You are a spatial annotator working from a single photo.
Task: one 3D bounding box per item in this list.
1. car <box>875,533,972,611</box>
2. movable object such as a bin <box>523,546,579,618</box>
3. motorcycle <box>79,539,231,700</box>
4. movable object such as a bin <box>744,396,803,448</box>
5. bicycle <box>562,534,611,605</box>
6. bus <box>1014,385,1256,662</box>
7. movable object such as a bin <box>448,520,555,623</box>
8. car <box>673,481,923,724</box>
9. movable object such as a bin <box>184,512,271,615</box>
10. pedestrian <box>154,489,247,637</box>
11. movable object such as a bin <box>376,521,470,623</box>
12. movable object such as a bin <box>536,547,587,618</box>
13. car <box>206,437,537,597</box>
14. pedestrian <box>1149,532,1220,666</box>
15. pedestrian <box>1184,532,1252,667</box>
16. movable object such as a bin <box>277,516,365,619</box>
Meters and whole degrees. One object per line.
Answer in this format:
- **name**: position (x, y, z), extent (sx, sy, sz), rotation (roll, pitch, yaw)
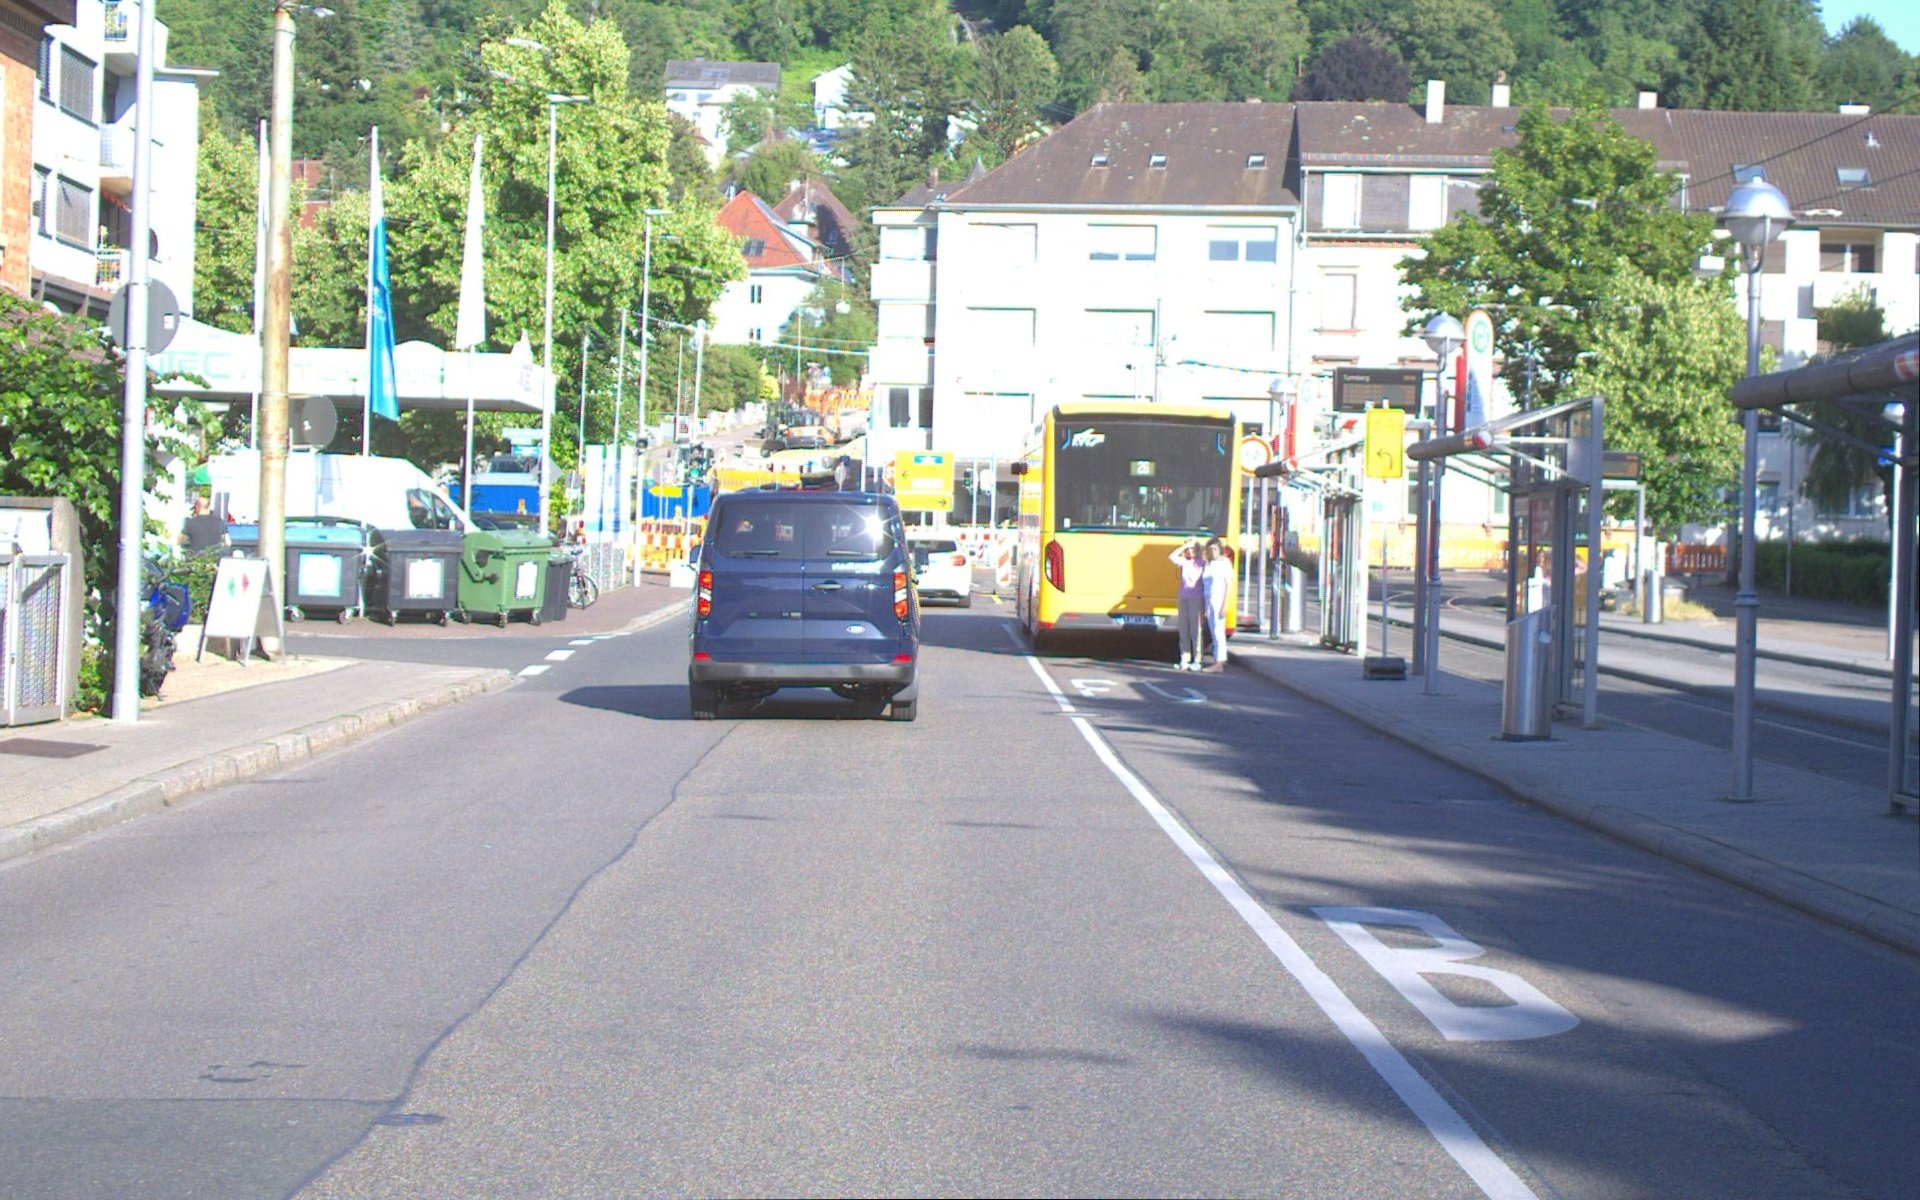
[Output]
- **car**: position (-0.697, -0.564, 66.754), extent (1.794, 1.405, 4.000), rotation (2, 1, 0)
- **movable object such as a bin**: position (-6.429, -0.290, 54.024), extent (0.660, 1.059, 0.585), rotation (4, 3, 12)
- **motorcycle**: position (-6.777, 0.142, 29.047), extent (0.839, 1.278, 2.233), rotation (2, 1, -3)
- **movable object such as a bin**: position (-10.036, -9.571, 185.226), extent (2.192, 2.681, 3.998), rotation (2, 2, 11)
- **bicycle**: position (-6.503, -0.540, 59.802), extent (0.723, 1.174, 1.781), rotation (1, 1, -10)
- **bus**: position (2.285, -1.131, 49.041), extent (2.688, 3.404, 12.019), rotation (1, 2, 0)
- **movable object such as a bin**: position (-7.077, -0.452, 53.084), extent (1.056, 1.477, 1.310), rotation (4, 5, 28)
- **car**: position (-1.371, -0.028, 31.080), extent (2.062, 2.007, 5.000), rotation (0, 1, -1)
- **movable object such as a bin**: position (-11.006, -0.552, 51.660), extent (1.177, 1.477, 0.704), rotation (1, 4, -5)
- **pedestrian**: position (-9.795, -0.481, 44.326), extent (0.819, 1.861, 0.794), rotation (2, 2, 33)
- **movable object such as a bin**: position (-8.126, -0.434, 52.061), extent (1.218, 1.477, 0.704), rotation (-1, 5, -29)
- **movable object such as a bin**: position (-6.331, -0.280, 54.644), extent (0.640, 1.065, 0.580), rotation (2, 4, 12)
- **car**: position (-9.853, -1.378, 57.519), extent (5.054, 2.461, 2.109), rotation (2, 1, -22)
- **pedestrian**: position (2.737, -0.016, 41.881), extent (0.544, 1.607, 0.636), rotation (1, 1, -38)
- **pedestrian**: position (3.114, -0.011, 41.539), extent (0.544, 1.607, 0.549), rotation (1, 1, -38)
- **movable object such as a bin**: position (-9.613, -0.495, 51.733), extent (1.218, 1.477, 0.704), rotation (1, 4, -5)
